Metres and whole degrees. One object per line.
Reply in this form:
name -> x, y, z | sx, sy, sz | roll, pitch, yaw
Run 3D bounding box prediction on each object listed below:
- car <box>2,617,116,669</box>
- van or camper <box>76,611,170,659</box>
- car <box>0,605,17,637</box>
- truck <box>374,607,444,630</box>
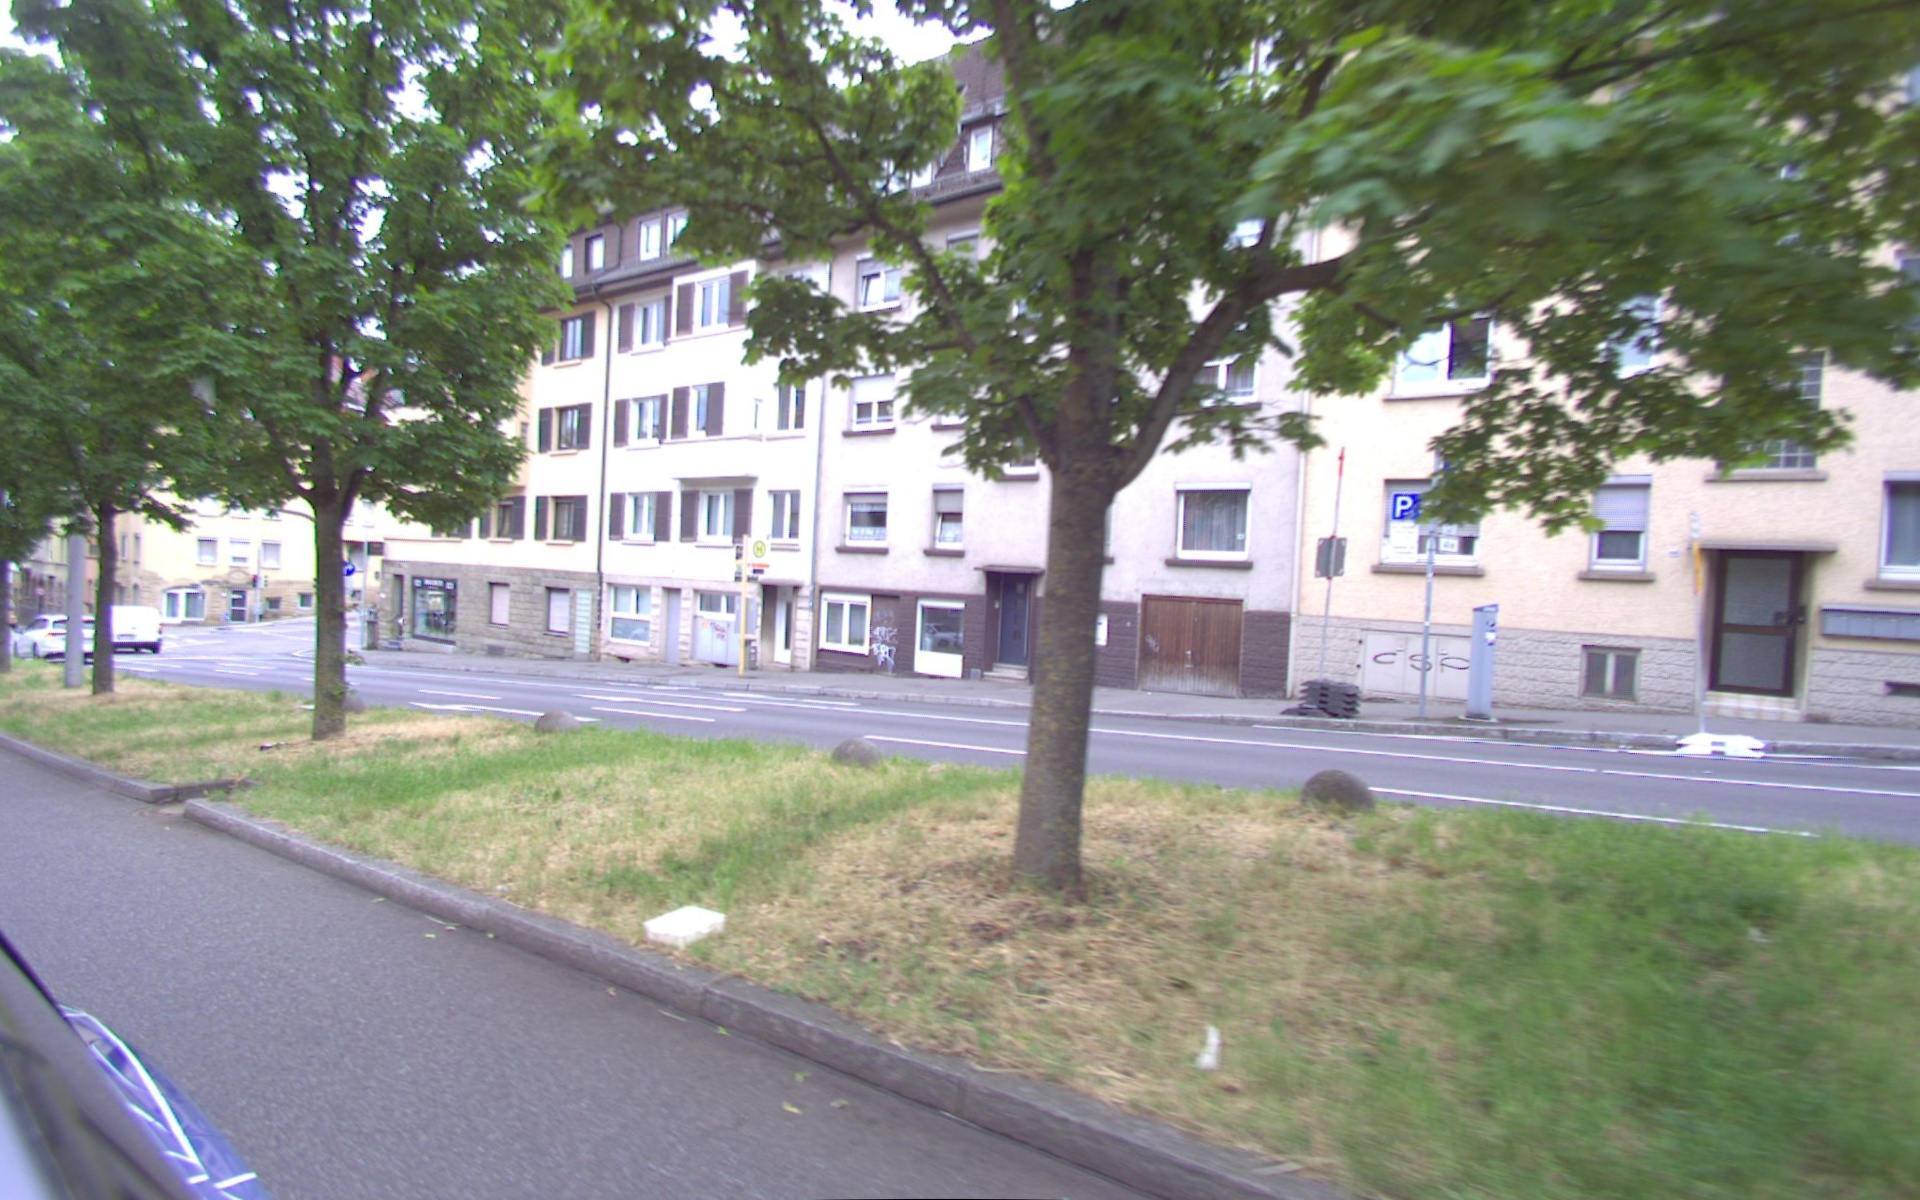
car -> -27.383, 1.259, 30.722 | 4.578, 1.478, 1.729 | -1, -2, 37
van or camper -> -32.738, 1.332, 39.528 | 4.648, 1.775, 1.889 | 0, -1, 38
car -> -57.781, 1.287, 60.239 | 4.346, 1.830, 1.861 | -3, -2, 39
truck -> -36.529, 1.191, 67.164 | 1.836, 1.429, 3.979 | 0, 0, 16
